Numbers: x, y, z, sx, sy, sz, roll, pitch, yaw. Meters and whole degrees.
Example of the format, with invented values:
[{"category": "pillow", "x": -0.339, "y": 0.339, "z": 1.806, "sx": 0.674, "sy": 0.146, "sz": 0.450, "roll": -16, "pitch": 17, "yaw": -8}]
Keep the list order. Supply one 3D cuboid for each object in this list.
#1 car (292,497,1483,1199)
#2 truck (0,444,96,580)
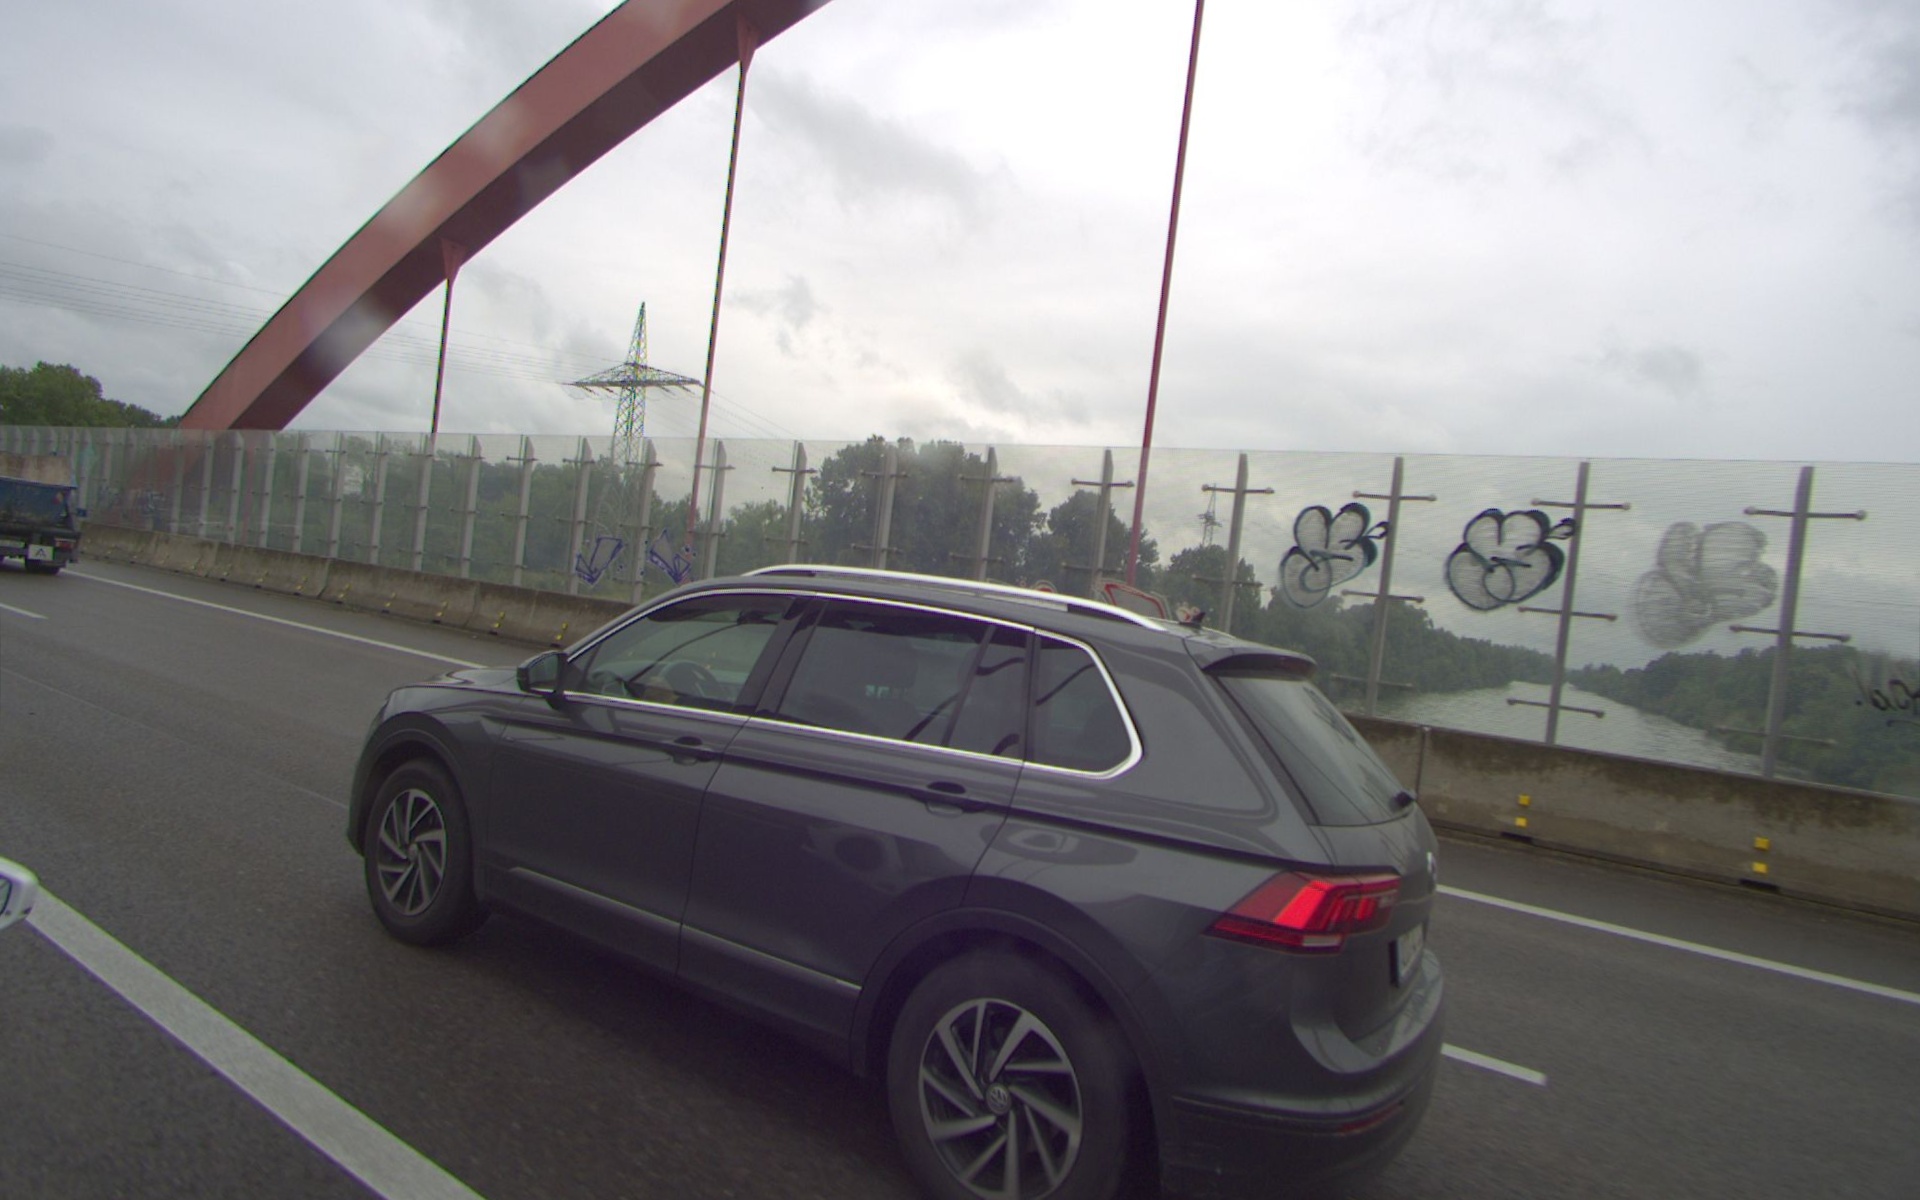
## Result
[{"category": "car", "x": -0.411, "y": 0.710, "z": 3.852, "sx": 4.035, "sy": 1.690, "sz": 1.915, "roll": 7, "pitch": -1, "yaw": 31}, {"category": "truck", "x": -21.535, "y": -2.095, "z": 21.953, "sx": 6.045, "sy": 2.536, "sz": 2.364, "roll": 7, "pitch": -1, "yaw": 34}]
